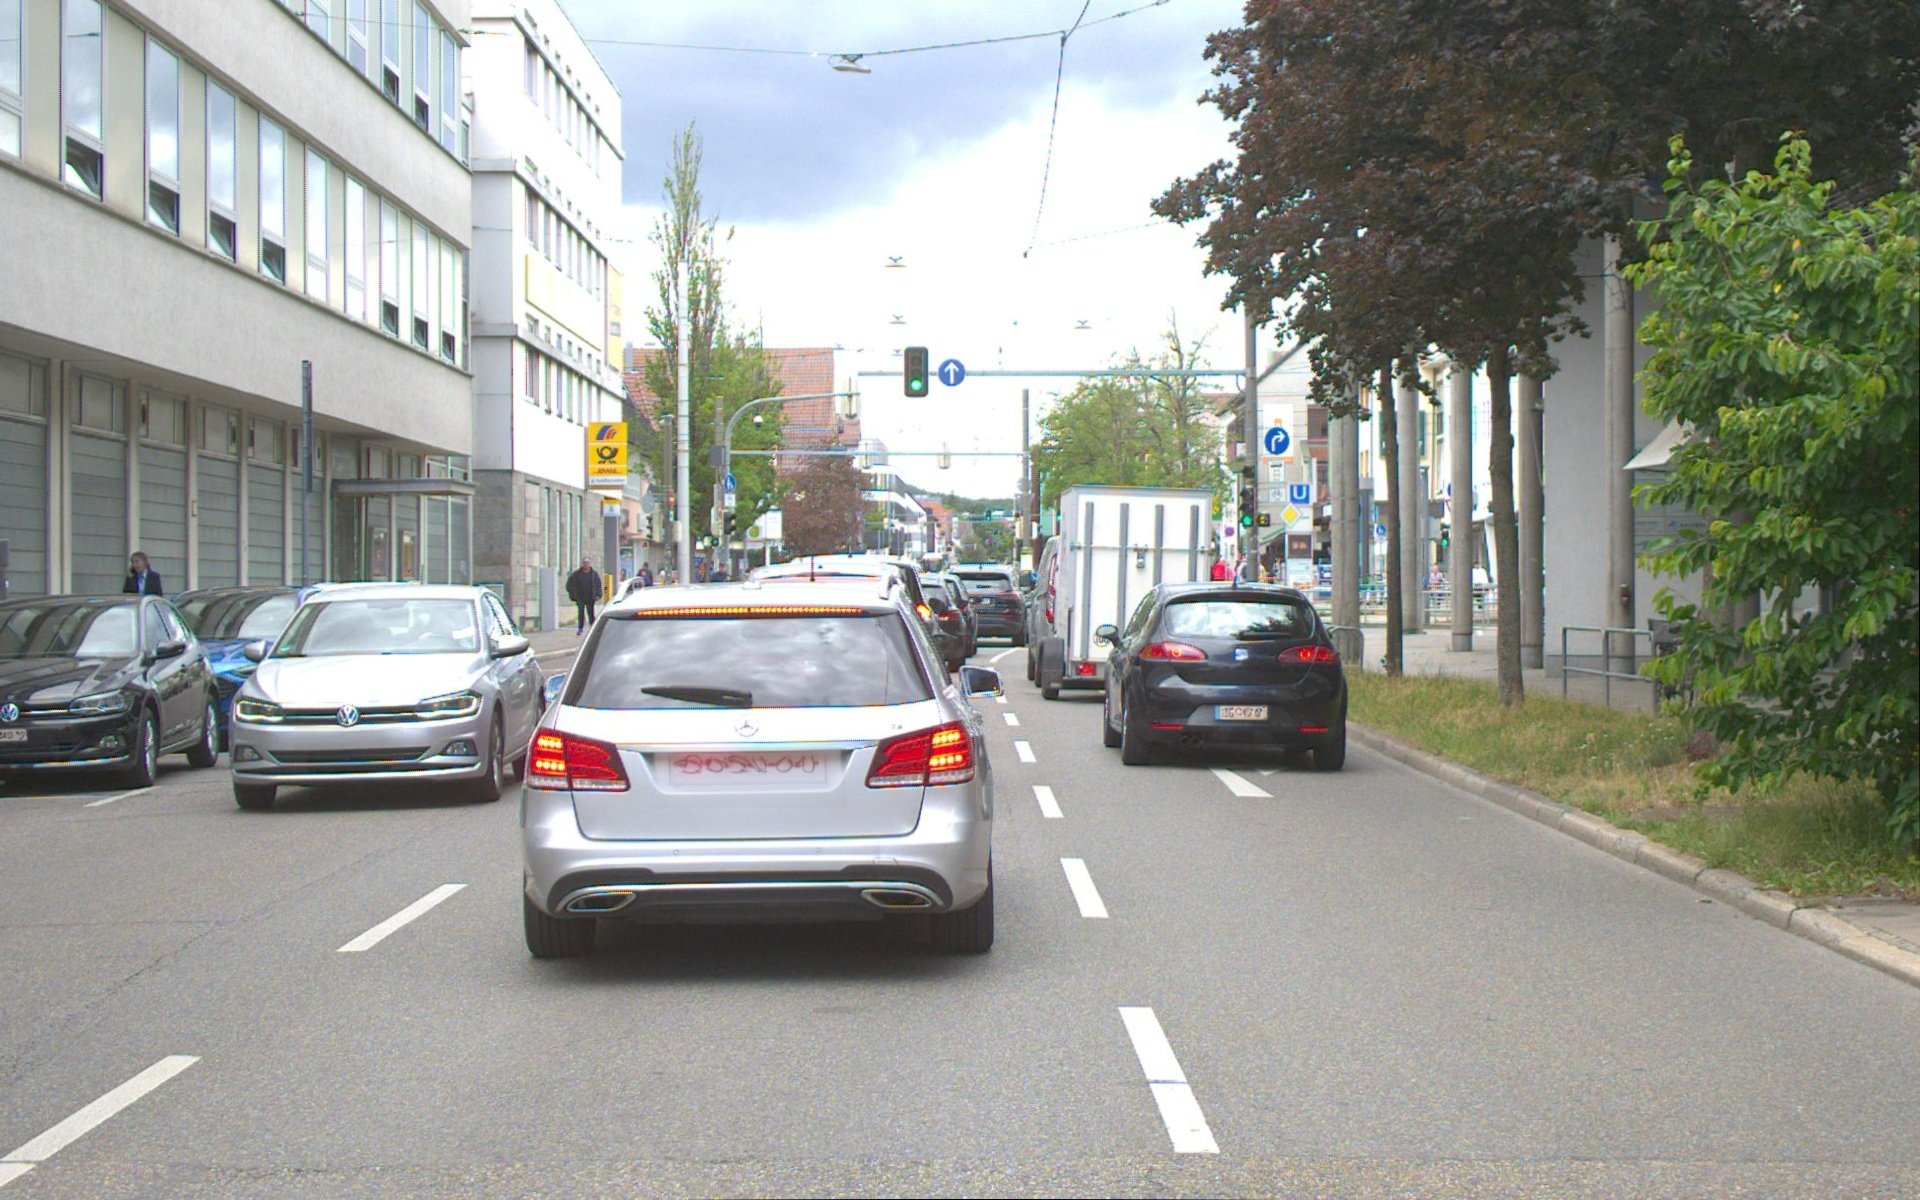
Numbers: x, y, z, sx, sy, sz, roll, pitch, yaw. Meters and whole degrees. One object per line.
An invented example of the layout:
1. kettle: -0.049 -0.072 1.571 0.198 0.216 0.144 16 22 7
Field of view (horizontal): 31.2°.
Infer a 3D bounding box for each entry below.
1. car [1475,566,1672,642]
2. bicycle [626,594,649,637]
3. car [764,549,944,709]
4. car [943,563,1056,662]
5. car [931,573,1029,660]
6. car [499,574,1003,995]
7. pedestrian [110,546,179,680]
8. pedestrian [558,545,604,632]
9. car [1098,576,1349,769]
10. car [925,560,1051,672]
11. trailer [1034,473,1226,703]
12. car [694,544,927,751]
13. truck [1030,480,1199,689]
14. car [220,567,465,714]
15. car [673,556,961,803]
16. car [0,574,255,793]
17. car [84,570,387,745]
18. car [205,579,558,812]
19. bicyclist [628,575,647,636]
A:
1. car: 14.024 0.084 78.649 3.986 1.645 1.845 1 0 -13
2. bicycle: -8.944 0.415 95.423 0.445 1.163 1.921 1 0 -1
3. car: -1.096 0.270 36.746 1.803 1.596 3.738 1 1 -1
4. car: 0.647 0.187 58.561 1.803 1.596 3.738 1 1 -1
5. car: 0.365 0.293 67.107 1.803 1.596 3.738 1 1 -1
6. car: -0.773 0.649 14.225 1.803 1.487 3.738 0 1 -1
7. pedestrian: -9.920 0.148 41.836 0.656 1.617 0.681 0 1 1
8. pedestrian: -8.178 -0.260 74.225 0.918 1.862 0.783 0 1 -1
9. car: 2.062 0.537 27.844 1.765 1.428 3.828 0 1 0
10. car: 0.389 0.212 52.219 1.803 1.596 3.738 1 1 -1
11. trailer: 1.991 -0.169 41.683 1.993 2.598 5.349 0 1 -1
12. car: -1.201 0.351 28.915 1.803 1.596 3.738 1 1 -1
13. truck: 1.963 -0.212 44.470 1.993 2.598 3.260 0 1 -1
14. car: -6.730 0.402 37.913 1.993 1.511 4.175 0 1 -1
15. car: -0.920 0.474 23.480 1.803 1.547 3.738 0 1 -1
16. car: -6.819 0.590 26.511 1.912 1.511 4.175 -2 1 -1
17. car: -6.695 0.485 32.208 1.993 1.511 4.175 0 1 -1
18. car: -3.918 0.592 23.924 1.769 1.408 4.175 -1 1 -1
19. bicyclist: -8.942 0.154 95.460 0.445 1.691 0.555 1 0 -1
